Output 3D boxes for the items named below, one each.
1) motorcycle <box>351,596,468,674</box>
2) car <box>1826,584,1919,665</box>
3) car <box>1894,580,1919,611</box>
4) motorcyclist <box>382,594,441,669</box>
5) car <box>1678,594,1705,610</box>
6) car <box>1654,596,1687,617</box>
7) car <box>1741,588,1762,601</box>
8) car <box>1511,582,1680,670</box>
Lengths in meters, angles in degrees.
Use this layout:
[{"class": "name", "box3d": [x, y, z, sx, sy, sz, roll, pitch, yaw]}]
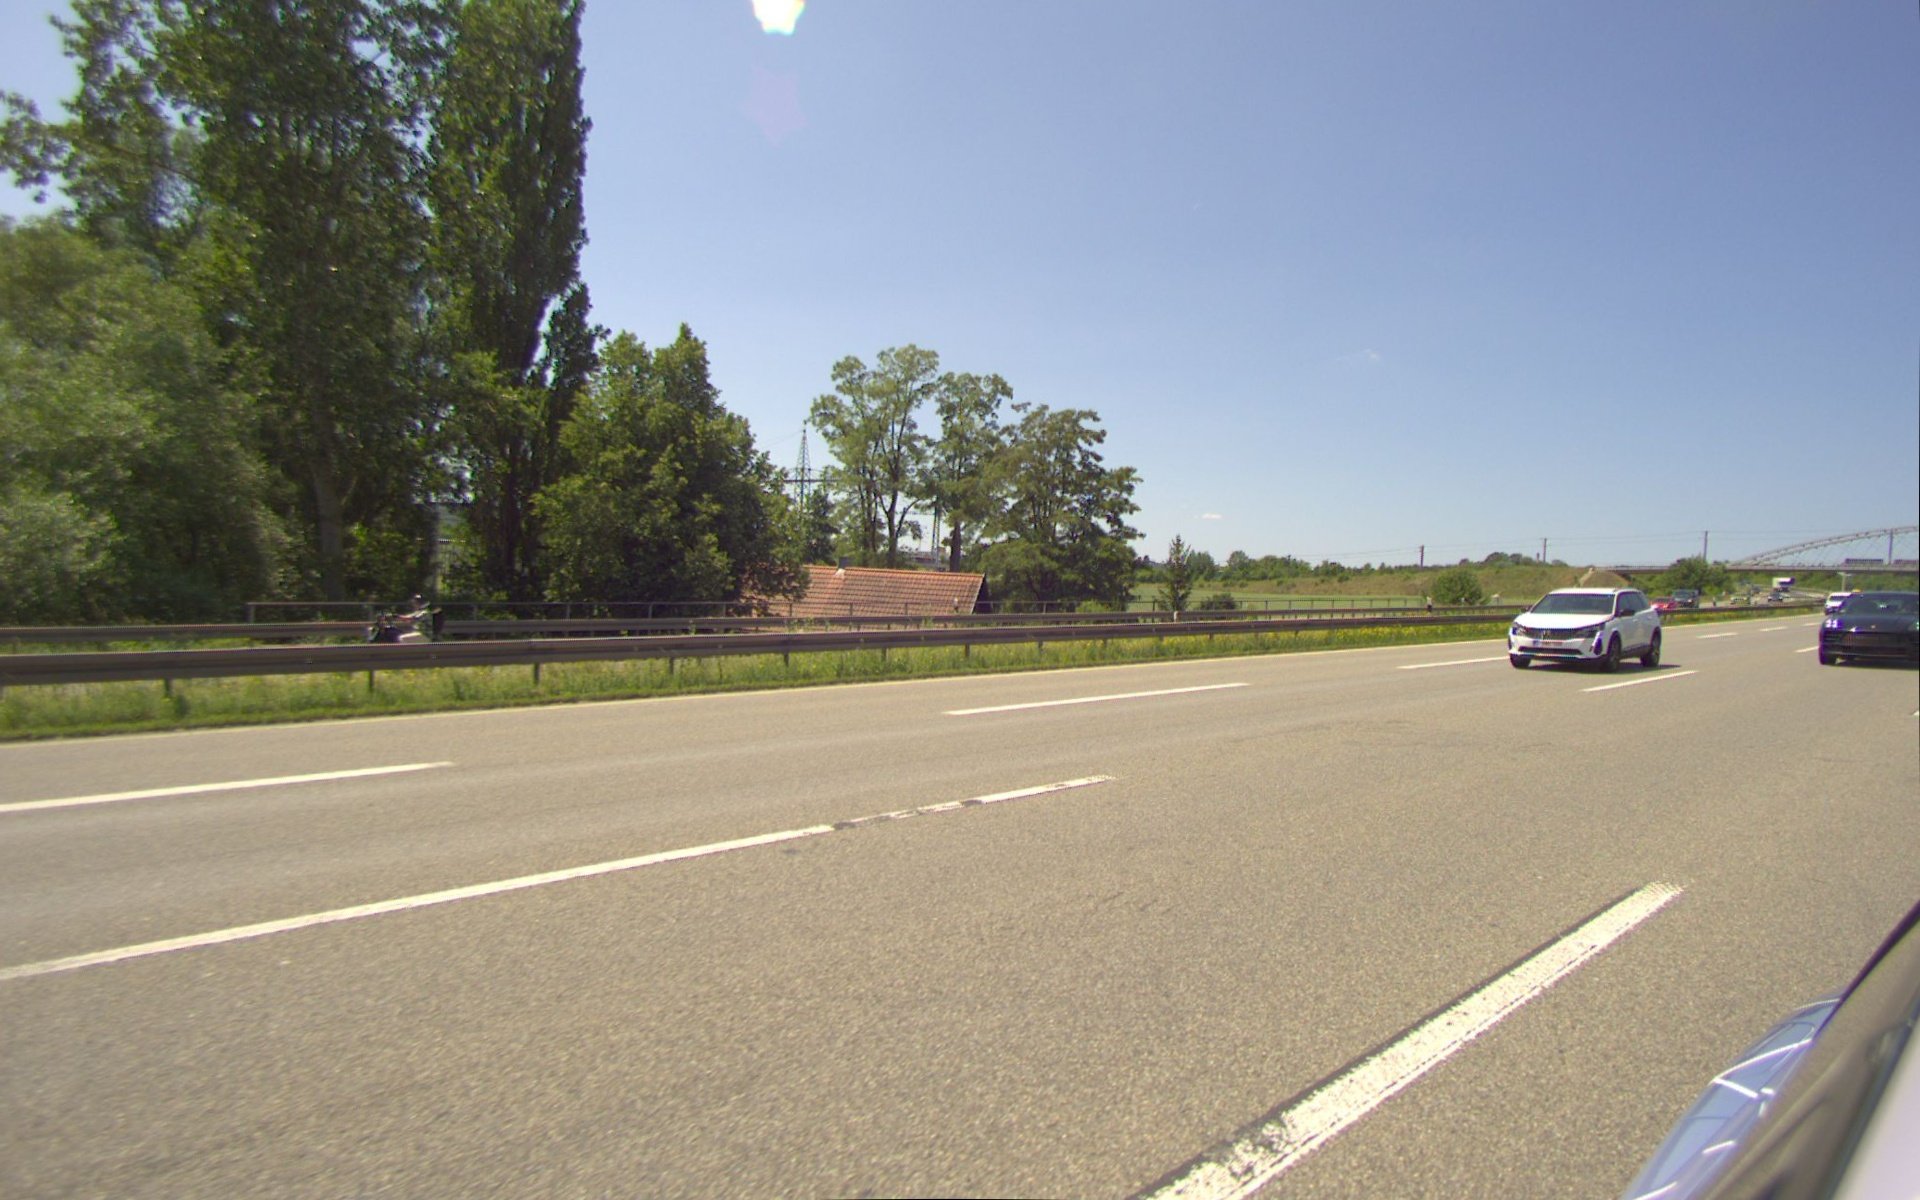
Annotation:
[{"class": "motorcycle", "box3d": [-10.442, 0.634, 19.240, 1.837, 1.383, 0.761, -1, 1, -41]}, {"class": "car", "box3d": [20.511, 0.473, 22.091, 4.061, 1.615, 1.930, -1, 1, -42]}, {"class": "car", "box3d": [62.858, -0.306, 66.613, 4.225, 1.943, 1.805, -1, 1, -44]}, {"class": "motorcyclist", "box3d": [-10.436, 0.579, 19.258, 0.863, 1.383, 0.669, 0, 1, -41]}, {"class": "car", "box3d": [74.120, 0.199, 102.528, 1.699, 1.594, 4.065, 1, 1, 42]}, {"class": "car", "box3d": [58.057, 0.522, 82.685, 1.699, 1.594, 4.065, 1, 1, 42]}, {"class": "car", "box3d": [103.897, -0.762, 132.788, 4.060, 1.594, 1.701, -1, 1, -44]}, {"class": "car", "box3d": [13.164, 0.444, 20.865, 4.540, 1.611, 1.746, -1, 1, -41]}]
